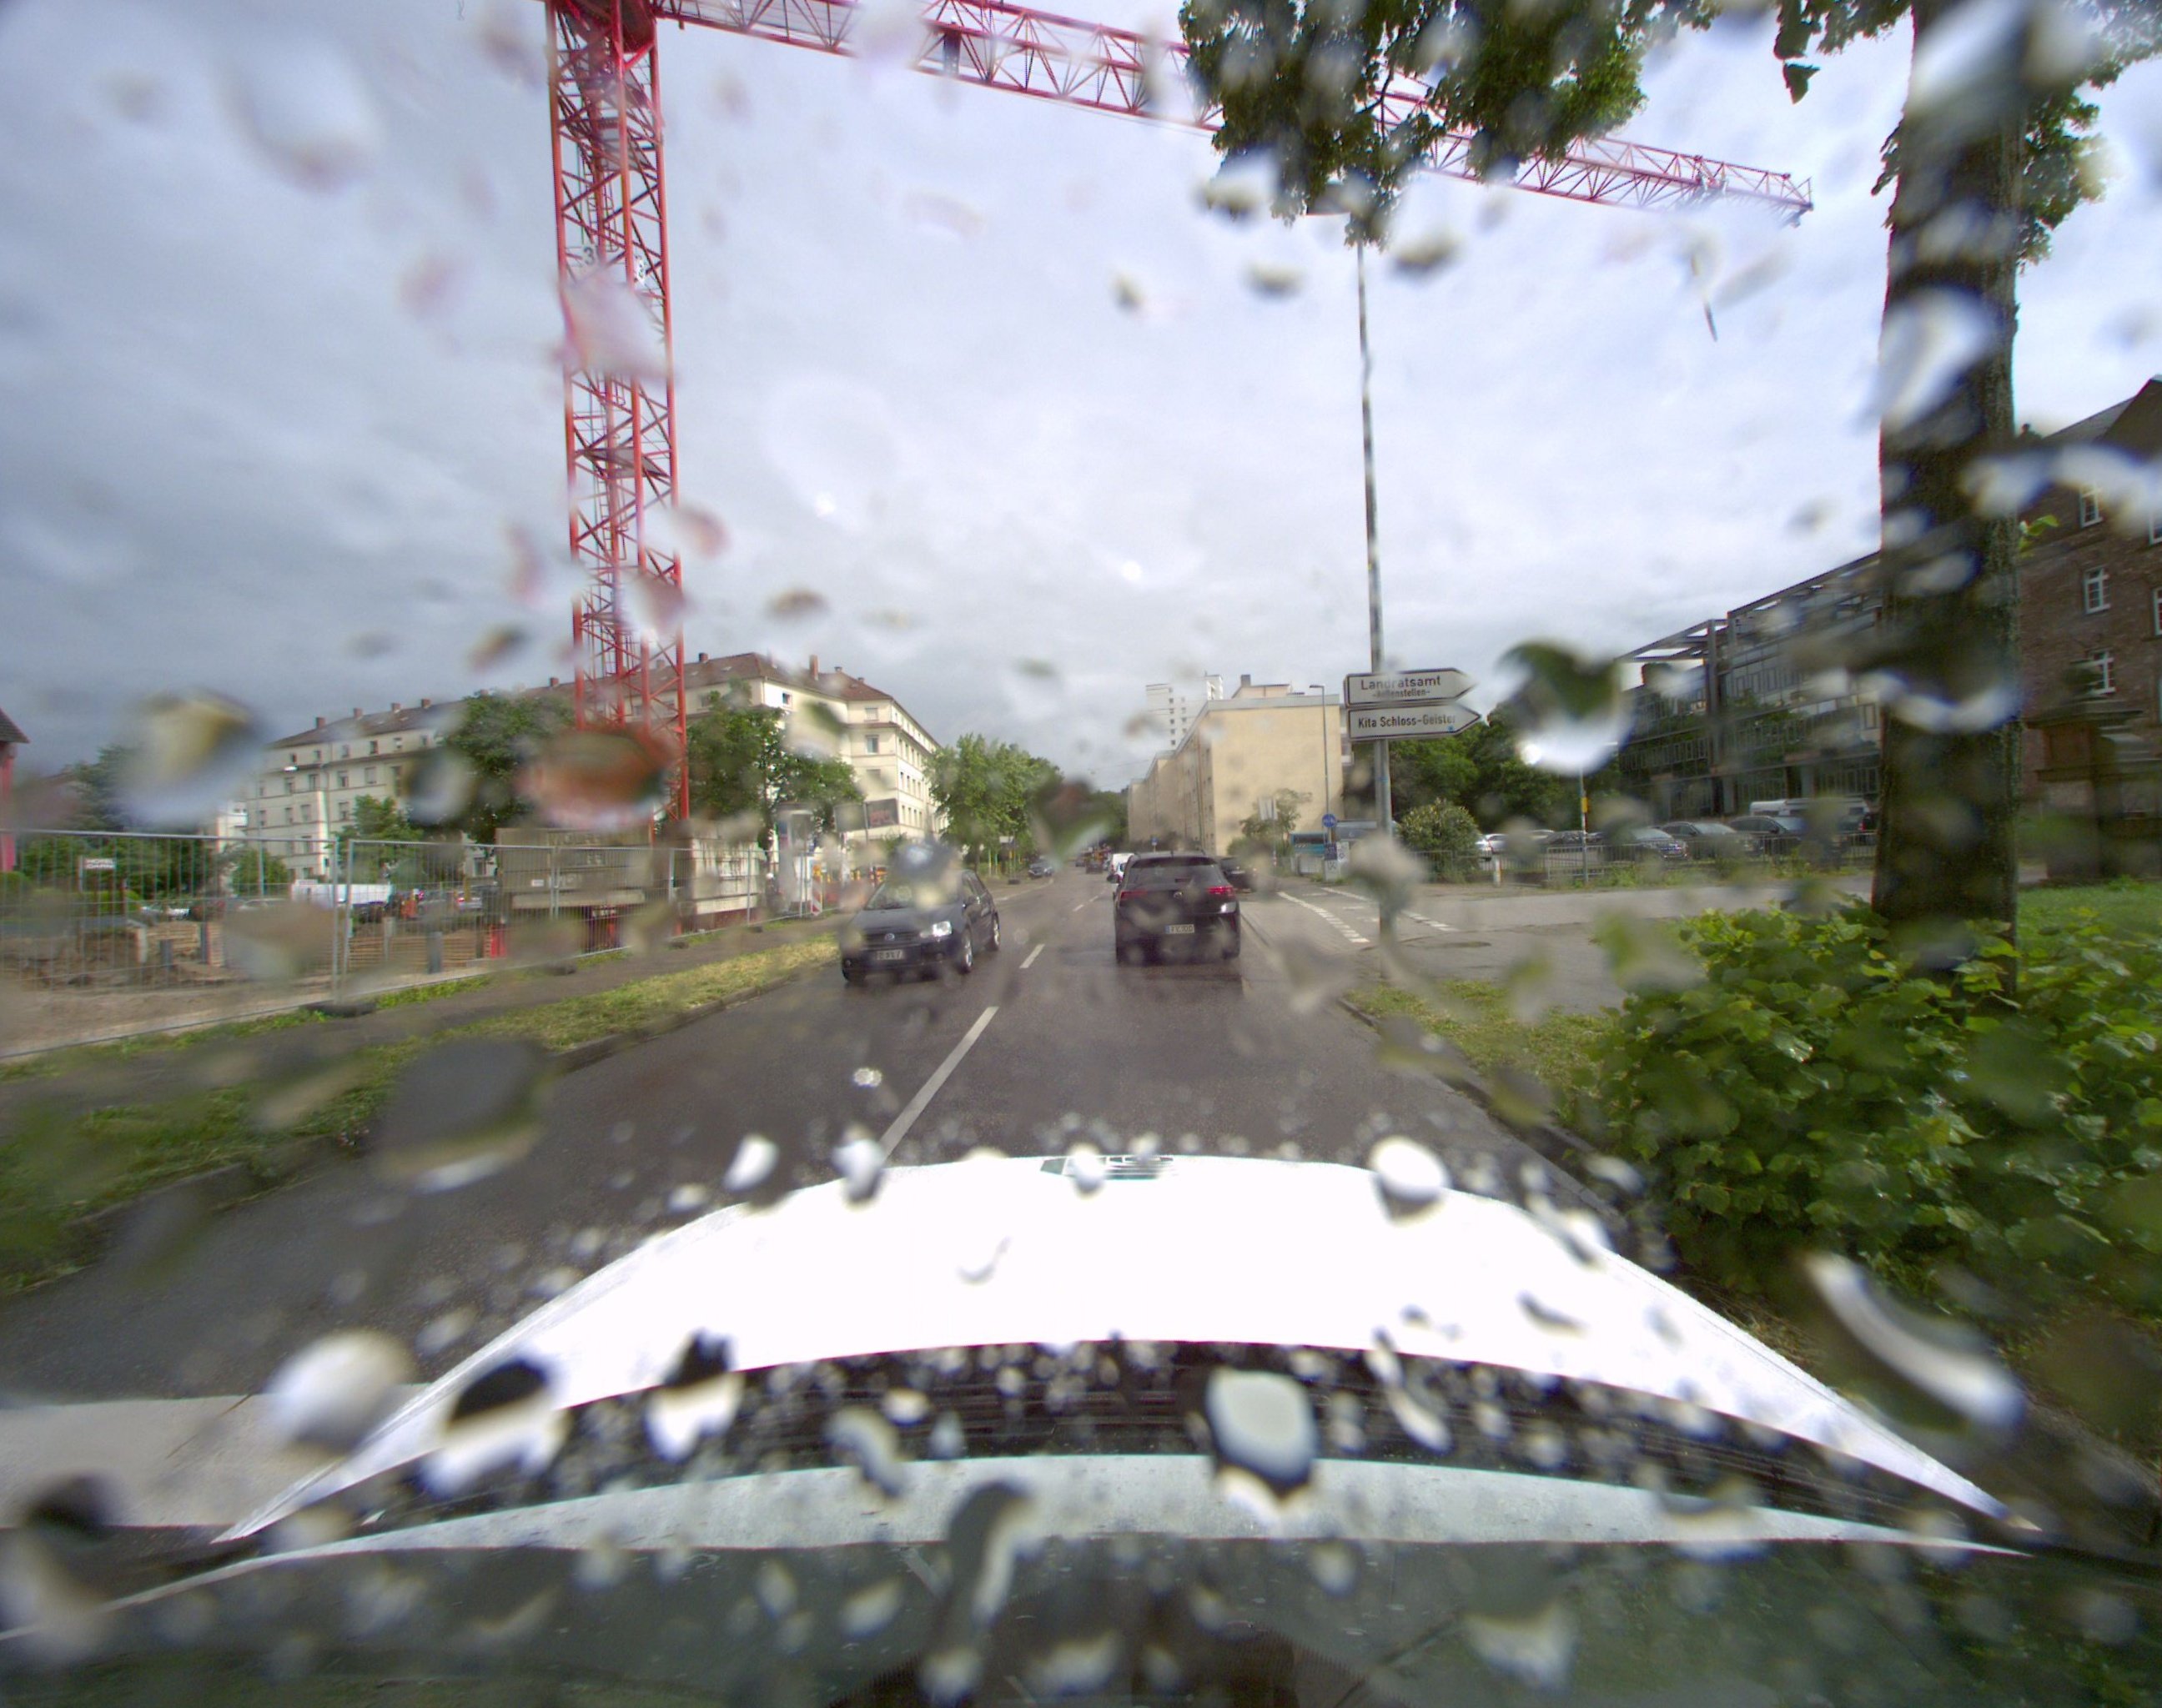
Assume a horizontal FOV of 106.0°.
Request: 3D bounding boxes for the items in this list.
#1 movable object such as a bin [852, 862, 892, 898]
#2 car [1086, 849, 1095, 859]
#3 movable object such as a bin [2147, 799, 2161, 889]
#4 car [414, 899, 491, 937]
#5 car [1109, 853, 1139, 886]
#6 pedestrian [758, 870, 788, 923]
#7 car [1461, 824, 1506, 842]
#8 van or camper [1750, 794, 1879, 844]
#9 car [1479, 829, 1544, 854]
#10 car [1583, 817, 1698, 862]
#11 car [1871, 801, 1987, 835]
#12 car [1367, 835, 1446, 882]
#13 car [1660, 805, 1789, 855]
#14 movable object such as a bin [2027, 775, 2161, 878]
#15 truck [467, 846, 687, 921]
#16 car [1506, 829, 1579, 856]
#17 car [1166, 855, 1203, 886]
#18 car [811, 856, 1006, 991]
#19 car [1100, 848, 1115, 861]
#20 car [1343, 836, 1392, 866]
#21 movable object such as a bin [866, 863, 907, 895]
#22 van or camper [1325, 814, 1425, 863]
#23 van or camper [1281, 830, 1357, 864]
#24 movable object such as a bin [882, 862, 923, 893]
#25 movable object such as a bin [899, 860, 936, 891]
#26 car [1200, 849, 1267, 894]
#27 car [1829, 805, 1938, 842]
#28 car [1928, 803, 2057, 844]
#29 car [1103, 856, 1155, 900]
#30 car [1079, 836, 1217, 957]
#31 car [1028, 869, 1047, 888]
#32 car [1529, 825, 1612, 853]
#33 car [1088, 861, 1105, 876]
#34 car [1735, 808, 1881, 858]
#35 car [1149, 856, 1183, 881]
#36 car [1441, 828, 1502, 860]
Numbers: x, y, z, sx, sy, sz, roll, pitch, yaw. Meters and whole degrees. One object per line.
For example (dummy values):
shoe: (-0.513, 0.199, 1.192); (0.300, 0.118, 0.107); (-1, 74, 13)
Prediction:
movable object such as a bin: (-11.297, 1.389, 44.024); (1.524, 1.824, 1.270); (-3, 0, 21)
car: (2.031, 0.001, 174.942); (1.660, 1.838, 3.999); (-3, 0, 0)
movable object such as a bin: (17.981, -0.192, 12.592); (1.101, 1.457, 1.392); (-4, 0, 3)
car: (-38.297, 3.883, 49.635); (3.952, 1.864, 1.813); (-6, -1, 21)
car: (2.826, 1.009, 54.539); (1.830, 2.103, 4.000); (-1, -1, 1)
pedestrian: (-9.651, 1.312, 25.545); (0.727, 1.630, 0.676); (0, -2, -36)
car: (36.036, -1.864, 73.011); (3.210, 1.397, 1.511); (-3, 0, 5)
van or camper: (39.191, -1.819, 43.604); (4.768, 2.486, 2.258); (-1, -1, 1)
car: (30.217, -0.873, 57.214); (3.649, 1.486, 1.641); (-3, 0, 5)
car: (21.984, -0.531, 32.224); (1.819, 1.527, 4.431); (-3, 0, 7)
car: (39.992, -1.694, 38.469); (3.651, 1.486, 1.674); (0, 0, 3)
car: (13.567, 0.195, 34.216); (1.796, 1.750, 4.243); (-3, 0, 4)
car: (24.767, -0.867, 31.571); (1.843, 1.679, 4.433); (-3, 0, 8)
movable object such as a bin: (15.575, -0.412, 12.473); (0.796, 1.457, 1.098); (-4, 0, 3)
truck: (-25.764, 1.495, 41.712); (9.738, 3.184, 3.808); (-4, -1, 15)
car: (29.334, -0.716, 51.891); (3.649, 1.486, 1.641); (-3, 0, 5)
car: (5.527, 0.910, 43.809); (1.749, 1.528, 4.004); (-1, -2, 4)
car: (-2.416, 0.908, 12.515); (1.833, 1.608, 4.003); (-4, 0, 3)
car: (3.701, 0.067, 111.634); (1.833, 1.608, 3.678); (-4, 0, 3)
car: (15.339, -0.149, 43.700); (1.603, 1.449, 3.421); (-3, 0, 5)
movable object such as a bin: (-10.888, 1.381, 45.556); (1.524, 1.656, 1.536); (-3, 0, 21)
van or camper: (17.032, -0.870, 47.439); (4.977, 2.554, 2.176); (-2, -1, 3)
van or camper: (16.813, -0.500, 57.730); (4.736, 2.131, 2.325); (-3, 0, 5)
movable object such as a bin: (-10.298, 1.340, 47.106); (1.524, 1.674, 1.674); (-3, 0, 21)
movable object such as a bin: (-9.740, 1.278, 48.611); (1.524, 1.662, 1.466); (-3, 0, 21)
car: (5.983, 0.652, 32.439); (1.768, 1.539, 4.378); (-5, 0, 0)
car: (40.202, -1.492, 40.846); (3.651, 1.576, 1.674); (-3, 0, 3)
car: (40.100, -1.337, 35.901); (3.651, 1.524, 1.674); (-3, 0, 3)
car: (1.743, 0.870, 30.402); (1.806, 1.503, 4.001); (-1, -1, 2)
car: (0.992, 0.622, 13.273); (1.866, 1.645, 4.063); (-1, -1, 2)
car: (-3.856, 2.169, 72.693); (1.582, 1.505, 4.060); (-4, 0, -3)
car: (29.697, -0.908, 49.494); (3.957, 1.465, 1.674); (-3, 0, 3)
car: (1.659, 1.543, 90.099); (1.600, 1.510, 3.545); (-4, 0, -2)
car: (28.011, -0.749, 31.603); (1.845, 1.679, 4.428); (-3, 0, 4)
car: (5.782, 0.986, 55.711); (1.744, 1.508, 4.108); (-2, -1, -2)
car: (20.645, -0.506, 43.182); (1.641, 1.486, 3.723); (-3, 0, 5)
